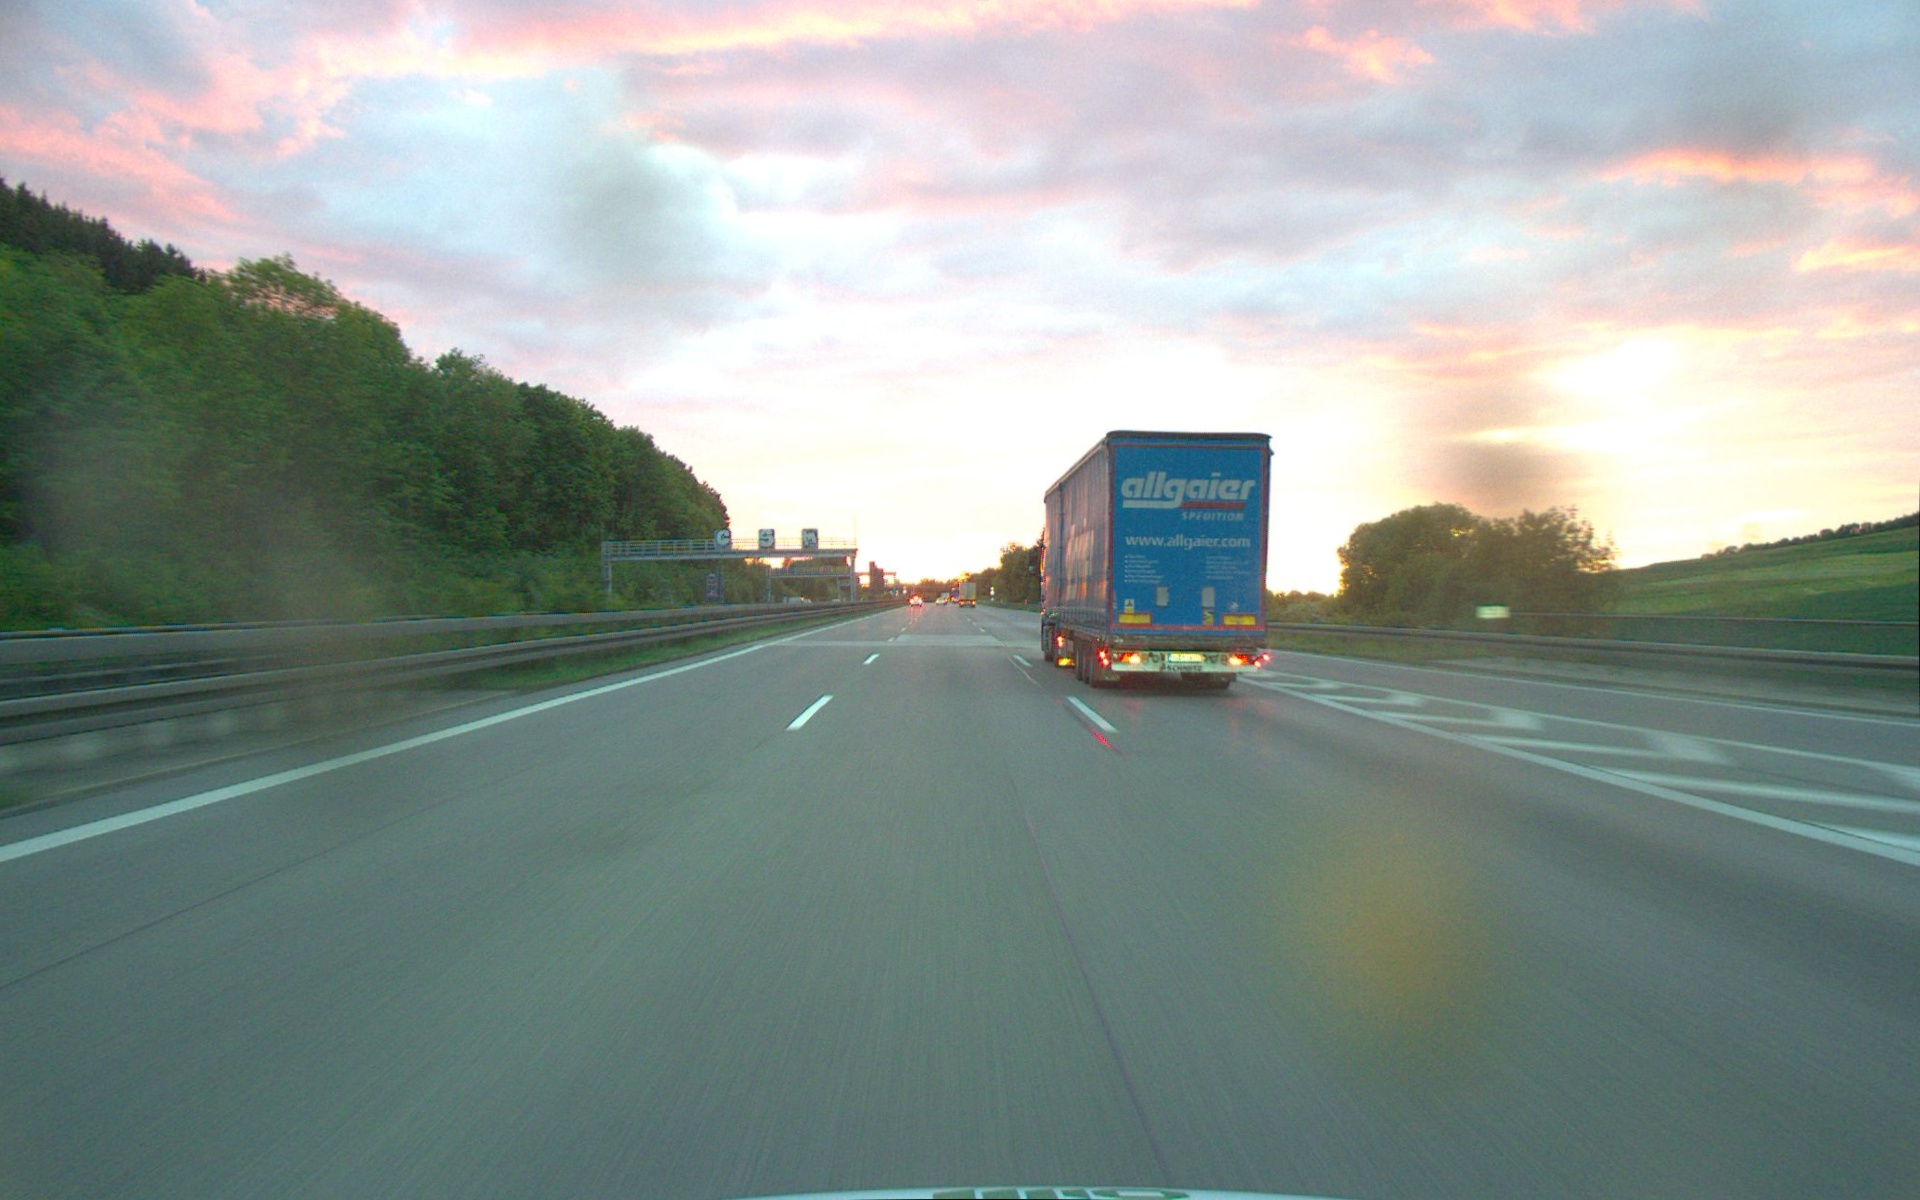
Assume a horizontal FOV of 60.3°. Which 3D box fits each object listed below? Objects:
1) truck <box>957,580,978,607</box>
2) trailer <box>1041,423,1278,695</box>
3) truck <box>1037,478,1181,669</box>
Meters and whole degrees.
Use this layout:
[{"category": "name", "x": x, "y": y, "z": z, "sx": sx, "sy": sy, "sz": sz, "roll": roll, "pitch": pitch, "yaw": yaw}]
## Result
[{"category": "truck", "x": 1.226, "y": -1.012, "z": 261.294, "sx": 3.178, "sy": 4.199, "sz": 9.787, "roll": -1, "pitch": 0, "yaw": 1}, {"category": "trailer", "x": 3.407, "y": -0.615, "z": 32.335, "sx": 2.715, "sy": 4.158, "sz": 13.736, "roll": 0, "pitch": 0, "yaw": -1}, {"category": "truck", "x": 3.313, "y": -0.557, "z": 38.187, "sx": 2.681, "sy": 4.066, "sz": 5.848, "roll": 0, "pitch": 0, "yaw": -1}]
